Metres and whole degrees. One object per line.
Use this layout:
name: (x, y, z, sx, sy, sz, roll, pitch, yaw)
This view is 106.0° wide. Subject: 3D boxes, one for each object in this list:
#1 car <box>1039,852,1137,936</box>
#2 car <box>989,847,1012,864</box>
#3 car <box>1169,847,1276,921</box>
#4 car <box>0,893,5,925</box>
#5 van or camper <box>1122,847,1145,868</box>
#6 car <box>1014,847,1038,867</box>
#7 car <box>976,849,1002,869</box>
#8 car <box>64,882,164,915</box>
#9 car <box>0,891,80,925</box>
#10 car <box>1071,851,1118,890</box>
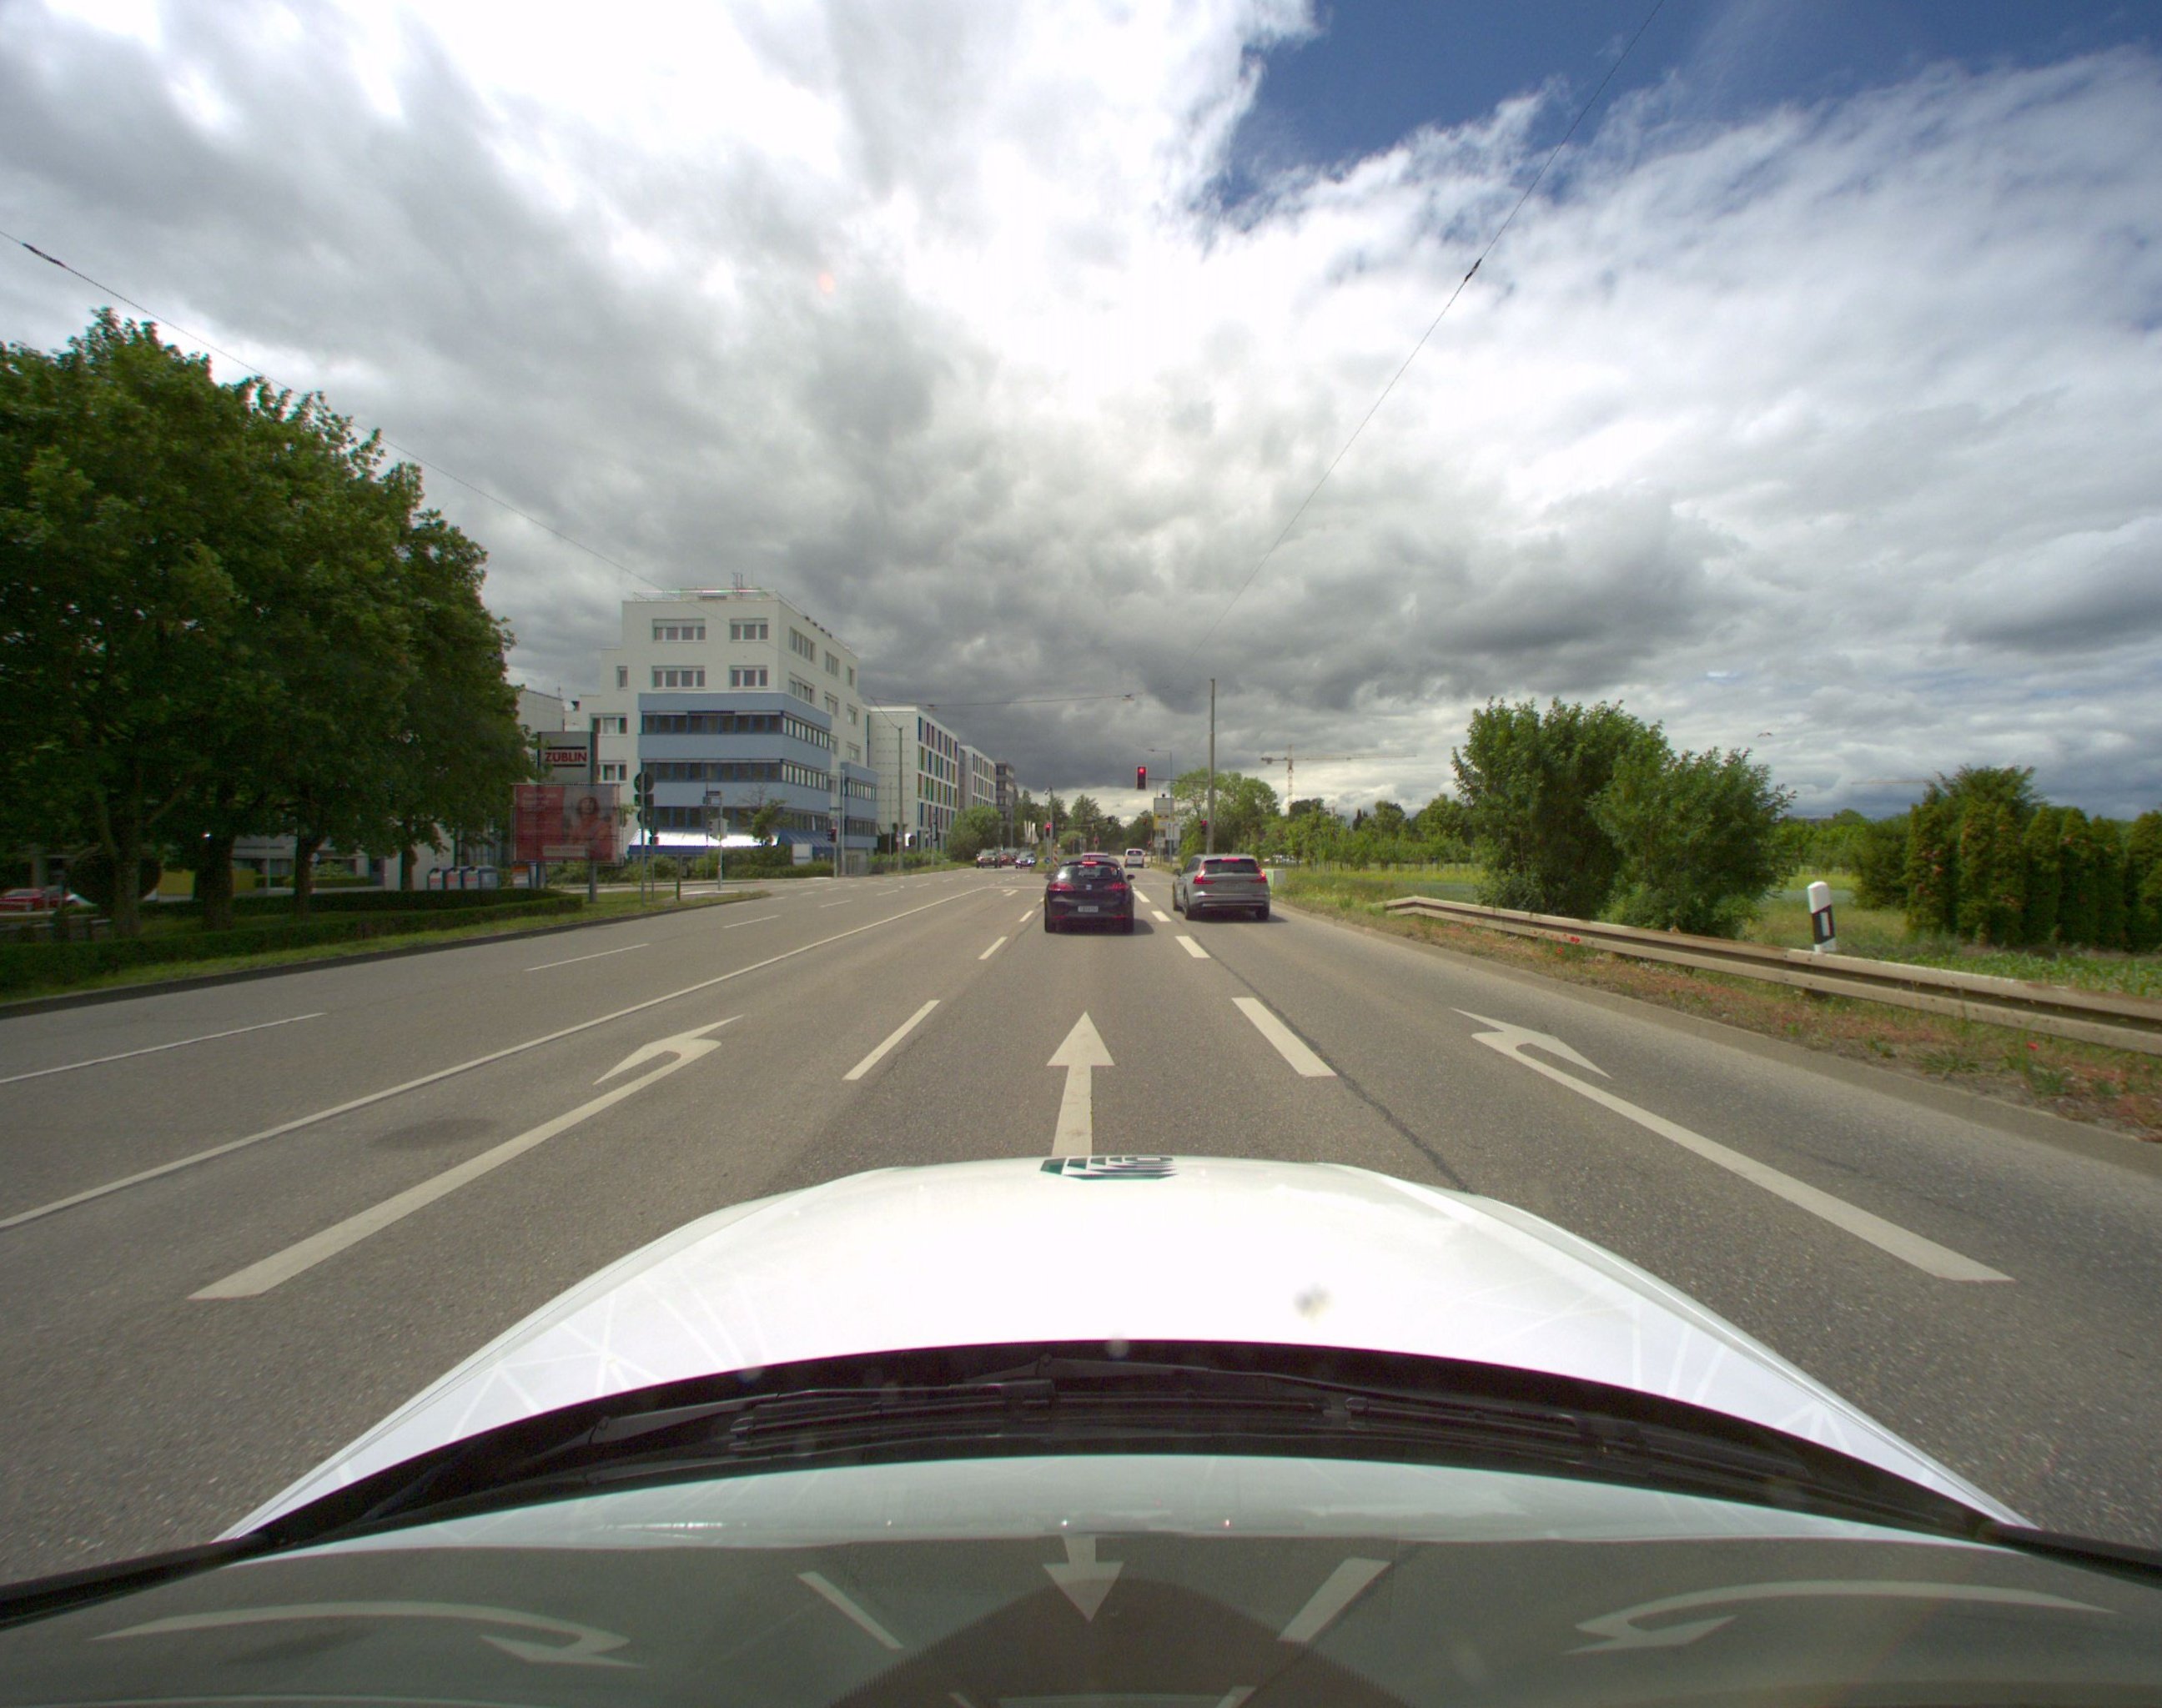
car: (0.268, 0.745, 16.898, 1.740, 1.484, 4.005, 1, 0, 4)
car: (-7.882, 0.120, 80.084, 1.770, 1.612, 4.000, 0, 0, 1)
car: (3.230, 0.664, 19.488, 1.950, 1.525, 4.342, -2, -1, 2)
car: (-71.105, 3.539, 51.440, 3.970, 2.014, 1.873, 0, -1, 3)
van or camper: (5.192, 0.386, 81.324, 1.894, 1.926, 3.995, 0, -4, -2)
car: (-4.618, 0.203, 68.906, 1.663, 1.524, 4.009, -2, 1, 1)
car: (-7.869, 0.386, 69.987, 1.745, 1.631, 4.000, -2, 0, 1)
car: (-60.284, 2.762, 50.822, 3.969, 1.980, 2.002, 0, -1, 4)
car: (-65.910, 3.398, 51.102, 3.969, 2.014, 1.895, 0, -1, 4)
car: (0.581, 0.672, 36.097, 1.977, 1.590, 4.226, 0, 0, 0)
